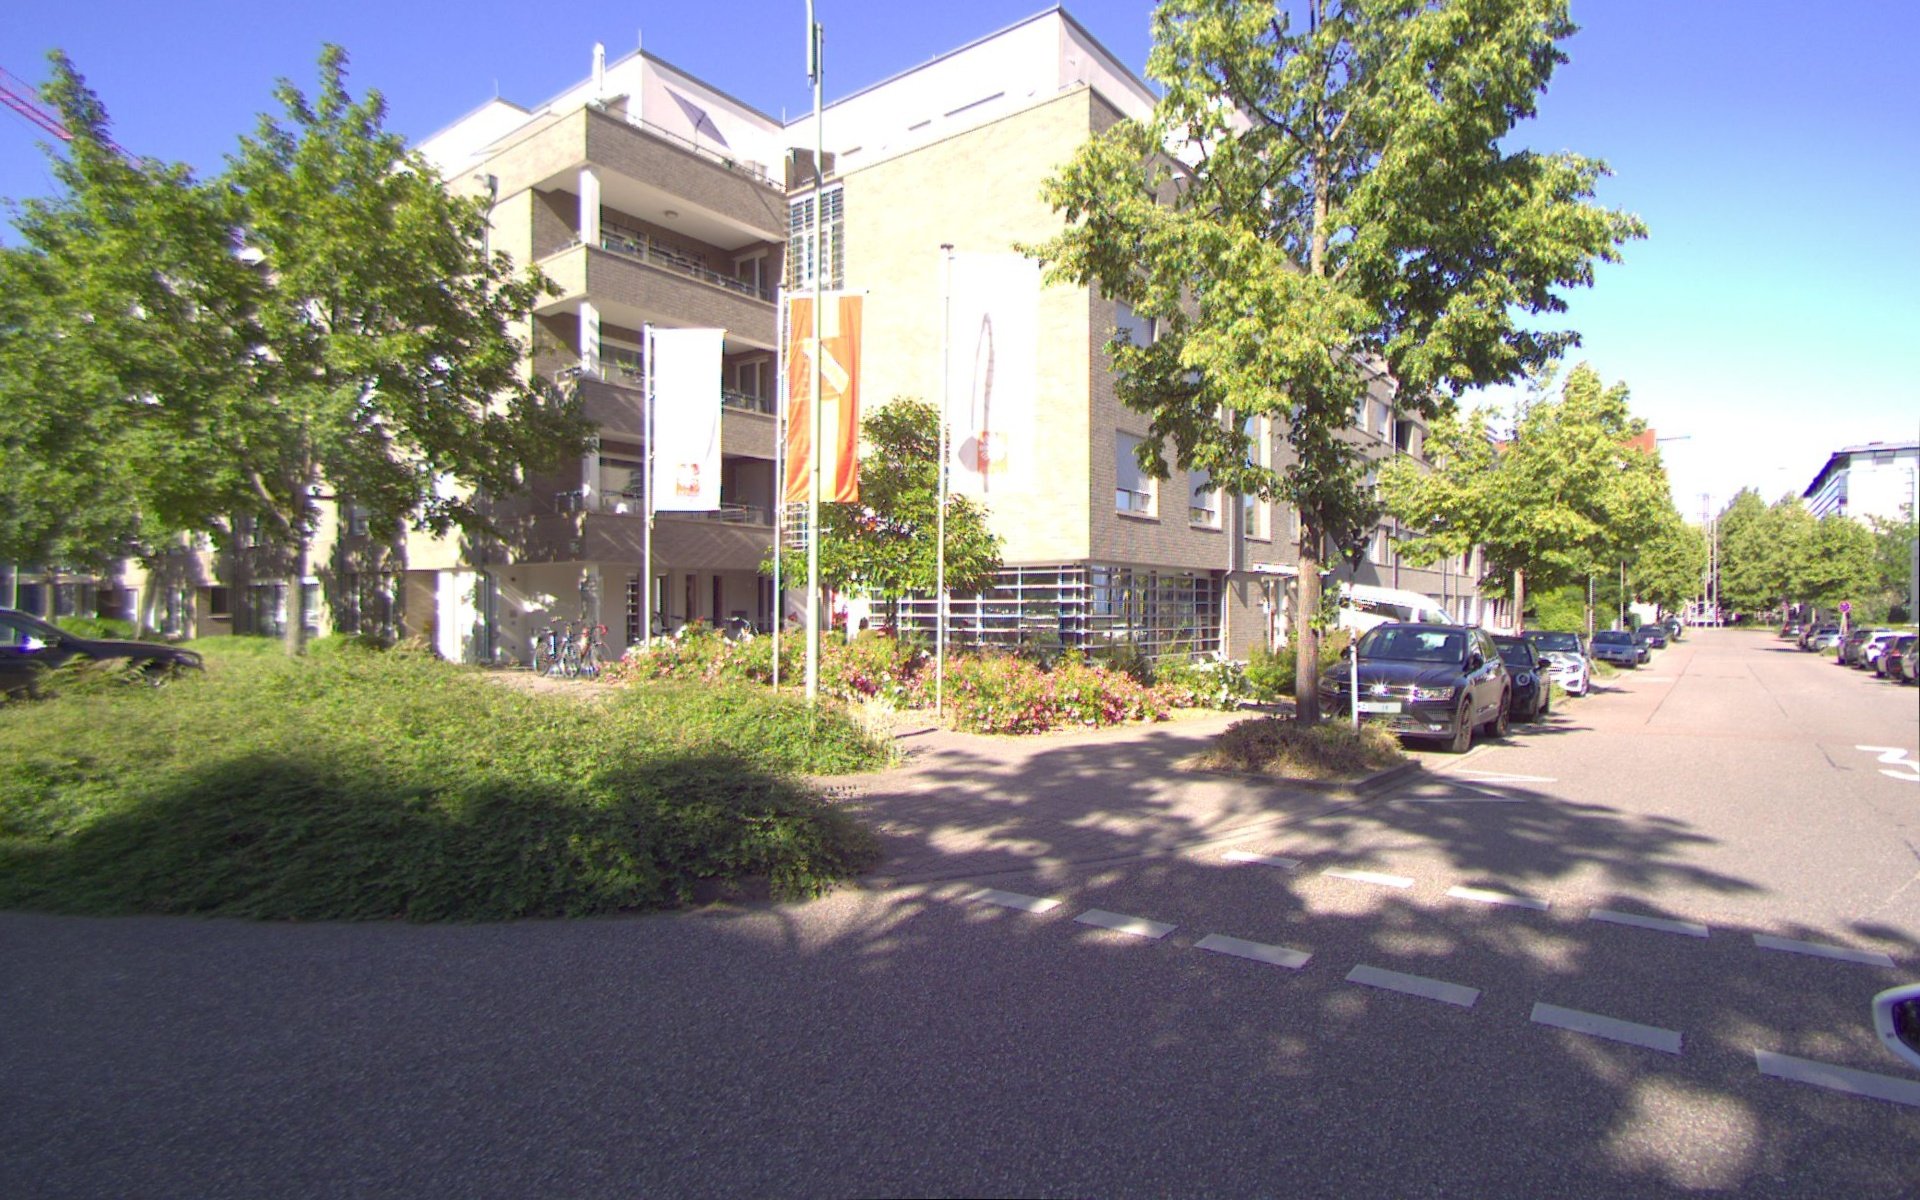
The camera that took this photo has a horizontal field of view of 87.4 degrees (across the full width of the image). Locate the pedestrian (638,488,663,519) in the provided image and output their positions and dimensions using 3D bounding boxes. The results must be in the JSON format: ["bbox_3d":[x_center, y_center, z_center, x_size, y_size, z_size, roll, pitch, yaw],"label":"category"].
[{"bbox_3d":[-7.626,-2.370,24.754,0.420,0.695,0.416,0,0,29],"label":"pedestrian"}]

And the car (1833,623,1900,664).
[{"bbox_3d":[39.566,1.886,43.921,1.704,1.674,4.310,-3,-2,36],"label":"car"}]

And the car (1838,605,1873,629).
[{"bbox_3d":[80.082,1.552,89.826,1.998,2.040,3.985,0,-2,37],"label":"car"}]

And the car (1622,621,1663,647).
[{"bbox_3d":[43.963,2.152,64.679,1.741,1.548,3.980,3,1,41],"label":"car"}]

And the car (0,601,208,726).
[{"bbox_3d":[-12.562,0.793,13.039,1.744,1.540,4.188,0,0,38],"label":"car"}]

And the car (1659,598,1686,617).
[{"bbox_3d":[61.397,0.648,86.571,1.755,1.550,3.985,-1,-2,37],"label":"car"}]

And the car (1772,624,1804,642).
[{"bbox_3d":[72.418,2.872,87.923,1.968,1.505,3.985,-1,-2,37],"label":"car"}]

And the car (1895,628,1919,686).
[{"bbox_3d":[28.967,1.663,29.632,1.642,1.533,3.983,0,0,38],"label":"car"}]

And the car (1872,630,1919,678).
[{"bbox_3d":[31.738,1.759,33.425,1.666,1.514,4.063,0,-1,37],"label":"car"}]

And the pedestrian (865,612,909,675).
[{"bbox_3d":[-1.658,0.973,22.816,0.733,1.379,0.667,0,-1,39],"label":"pedestrian"}]

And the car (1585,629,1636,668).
[{"bbox_3d":[26.947,1.971,41.566,1.590,1.484,3.861,0,-1,36],"label":"car"}]

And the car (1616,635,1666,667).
[{"bbox_3d":[30.799,2.260,45.386,1.579,1.233,3.859,2,1,38],"label":"car"}]

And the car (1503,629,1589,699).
[{"bbox_3d":[14.994,1.560,25.603,1.636,1.553,4.275,0,-1,34],"label":"car"}]

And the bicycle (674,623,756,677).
[{"bbox_3d":[-5.144,1.020,20.993,2.159,1.061,0.436,0,0,38],"label":"bicycle"}]

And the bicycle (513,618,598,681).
[{"bbox_3d":[-7.412,0.875,18.353,2.159,1.061,0.436,0,0,38],"label":"bicycle"}]

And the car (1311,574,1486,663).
[{"bbox_3d":[15.949,0.616,36.682,5.373,2.414,1.916,10,5,34],"label":"car"}]

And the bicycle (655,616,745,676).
[{"bbox_3d":[-4.964,0.851,19.074,2.159,1.061,0.436,0,0,38],"label":"bicycle"}]

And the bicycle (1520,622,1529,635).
[{"bbox_3d":[38.430,1.961,68.386,0.250,0.849,1.765,0,0,40],"label":"bicycle"}]

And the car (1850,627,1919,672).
[{"bbox_3d":[36.531,1.925,39.754,1.658,1.562,3.833,0,0,37],"label":"car"}]

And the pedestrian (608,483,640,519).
[{"bbox_3d":[-8.288,-2.431,24.768,0.357,0.809,0.682,0,0,30],"label":"pedestrian"}]

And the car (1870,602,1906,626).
[{"bbox_3d":[81.922,1.230,88.715,1.968,2.040,3.984,0,-1,37],"label":"car"}]

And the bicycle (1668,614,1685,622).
[{"bbox_3d":[76.617,1.905,107.394,1.447,0.854,0.334,0,0,34],"label":"bicycle"}]

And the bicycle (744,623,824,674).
[{"bbox_3d":[-3.981,1.075,22.641,2.159,1.061,0.436,0,0,38],"label":"bicycle"}]

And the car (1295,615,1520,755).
[{"bbox_3d":[6.398,1.078,14.097,1.864,1.641,4.320,-1,-2,39],"label":"car"}]

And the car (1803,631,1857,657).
[{"bbox_3d":[50.657,2.562,58.531,1.805,1.441,4.221,-3,-3,34],"label":"car"}]

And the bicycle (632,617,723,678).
[{"bbox_3d":[-5.276,0.863,18.691,2.159,1.061,0.436,0,0,38],"label":"bicycle"}]

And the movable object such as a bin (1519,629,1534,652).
[{"bbox_3d":[28.334,2.008,50.209,0.599,1.105,0.634,0,1,36],"label":"movable object such as a bin"}]

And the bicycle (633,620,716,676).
[{"bbox_3d":[-5.853,0.962,20.505,2.159,1.061,0.436,0,0,38],"label":"bicycle"}]

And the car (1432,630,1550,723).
[{"bbox_3d":[9.991,1.342,18.776,1.557,1.524,3.779,0,-2,34],"label":"car"}]

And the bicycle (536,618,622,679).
[{"bbox_3d":[-7.126,0.874,18.741,2.159,1.061,0.436,0,0,38],"label":"bicycle"}]

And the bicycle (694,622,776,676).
[{"bbox_3d":[-4.819,1.028,21.419,2.159,1.061,0.436,0,0,38],"label":"bicycle"}]

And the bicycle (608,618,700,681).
[{"bbox_3d":[-5.597,0.877,18.284,2.159,1.061,0.436,0,0,38],"label":"bicycle"}]

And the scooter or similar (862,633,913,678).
[{"bbox_3d":[-1.647,1.247,22.829,0.855,0.967,0.802,0,0,38],"label":"scooter or similar"}]
